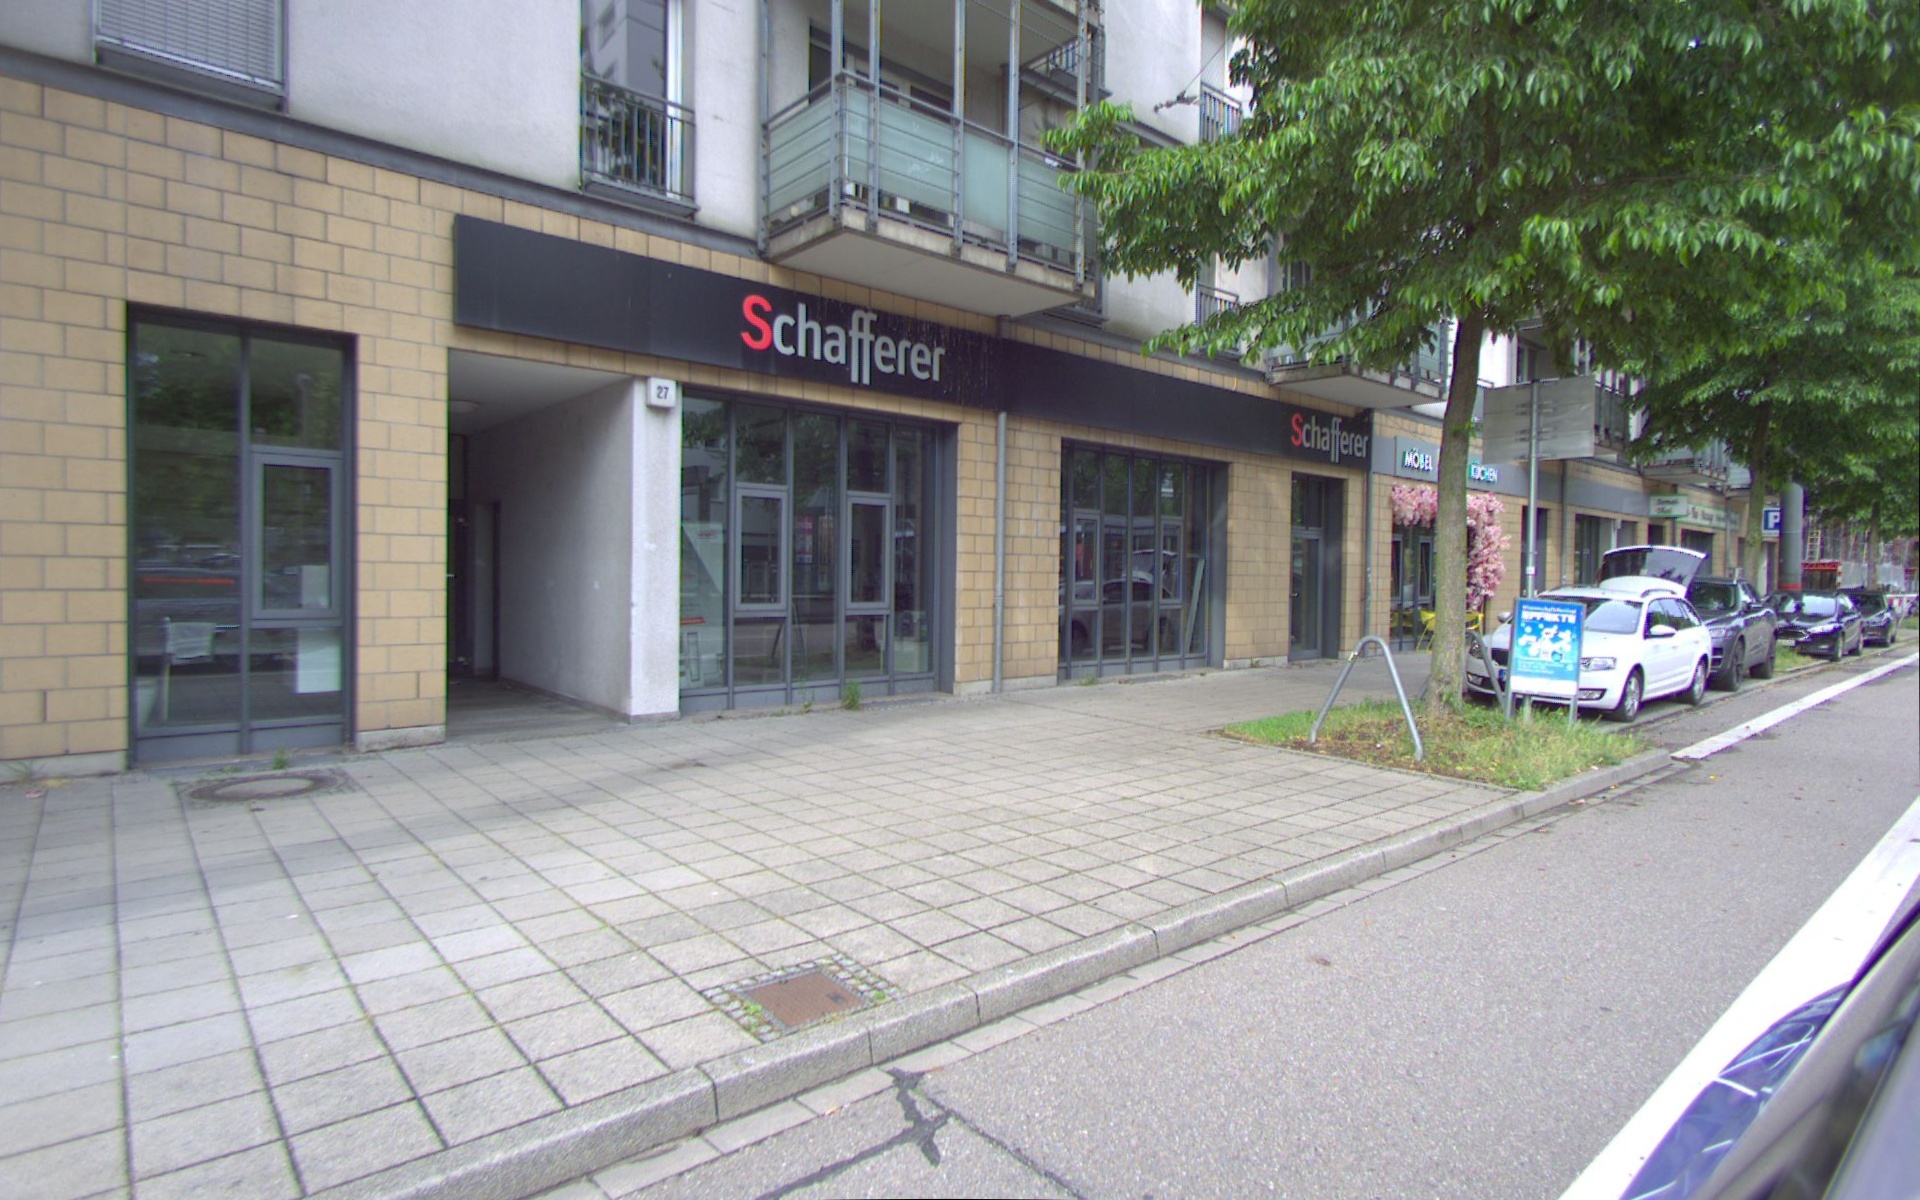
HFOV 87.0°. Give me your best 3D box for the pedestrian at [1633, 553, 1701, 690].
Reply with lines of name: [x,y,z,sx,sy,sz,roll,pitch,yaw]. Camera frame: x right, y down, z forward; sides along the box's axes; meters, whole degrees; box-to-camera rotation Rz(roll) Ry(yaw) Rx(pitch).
pedestrian: [10.131,0.288,14.499,0.588,1.907,0.656,0,1,-40]

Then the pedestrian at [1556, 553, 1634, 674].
pedestrian: [9.486,0.175,15.129,0.606,1.737,0.739,0,3,-34]

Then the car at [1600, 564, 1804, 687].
car: [11.806,0.318,16.036,3.732,1.630,1.738,-1,5,-41]

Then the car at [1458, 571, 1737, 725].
car: [8.133,0.474,12.763,4.233,1.539,1.738,-1,5,-41]

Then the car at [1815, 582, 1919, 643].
car: [24.168,0.287,26.878,3.603,1.417,1.612,-1,5,-41]

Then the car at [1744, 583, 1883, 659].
car: [18.646,0.386,22.052,4.095,1.394,1.612,-1,5,-41]
